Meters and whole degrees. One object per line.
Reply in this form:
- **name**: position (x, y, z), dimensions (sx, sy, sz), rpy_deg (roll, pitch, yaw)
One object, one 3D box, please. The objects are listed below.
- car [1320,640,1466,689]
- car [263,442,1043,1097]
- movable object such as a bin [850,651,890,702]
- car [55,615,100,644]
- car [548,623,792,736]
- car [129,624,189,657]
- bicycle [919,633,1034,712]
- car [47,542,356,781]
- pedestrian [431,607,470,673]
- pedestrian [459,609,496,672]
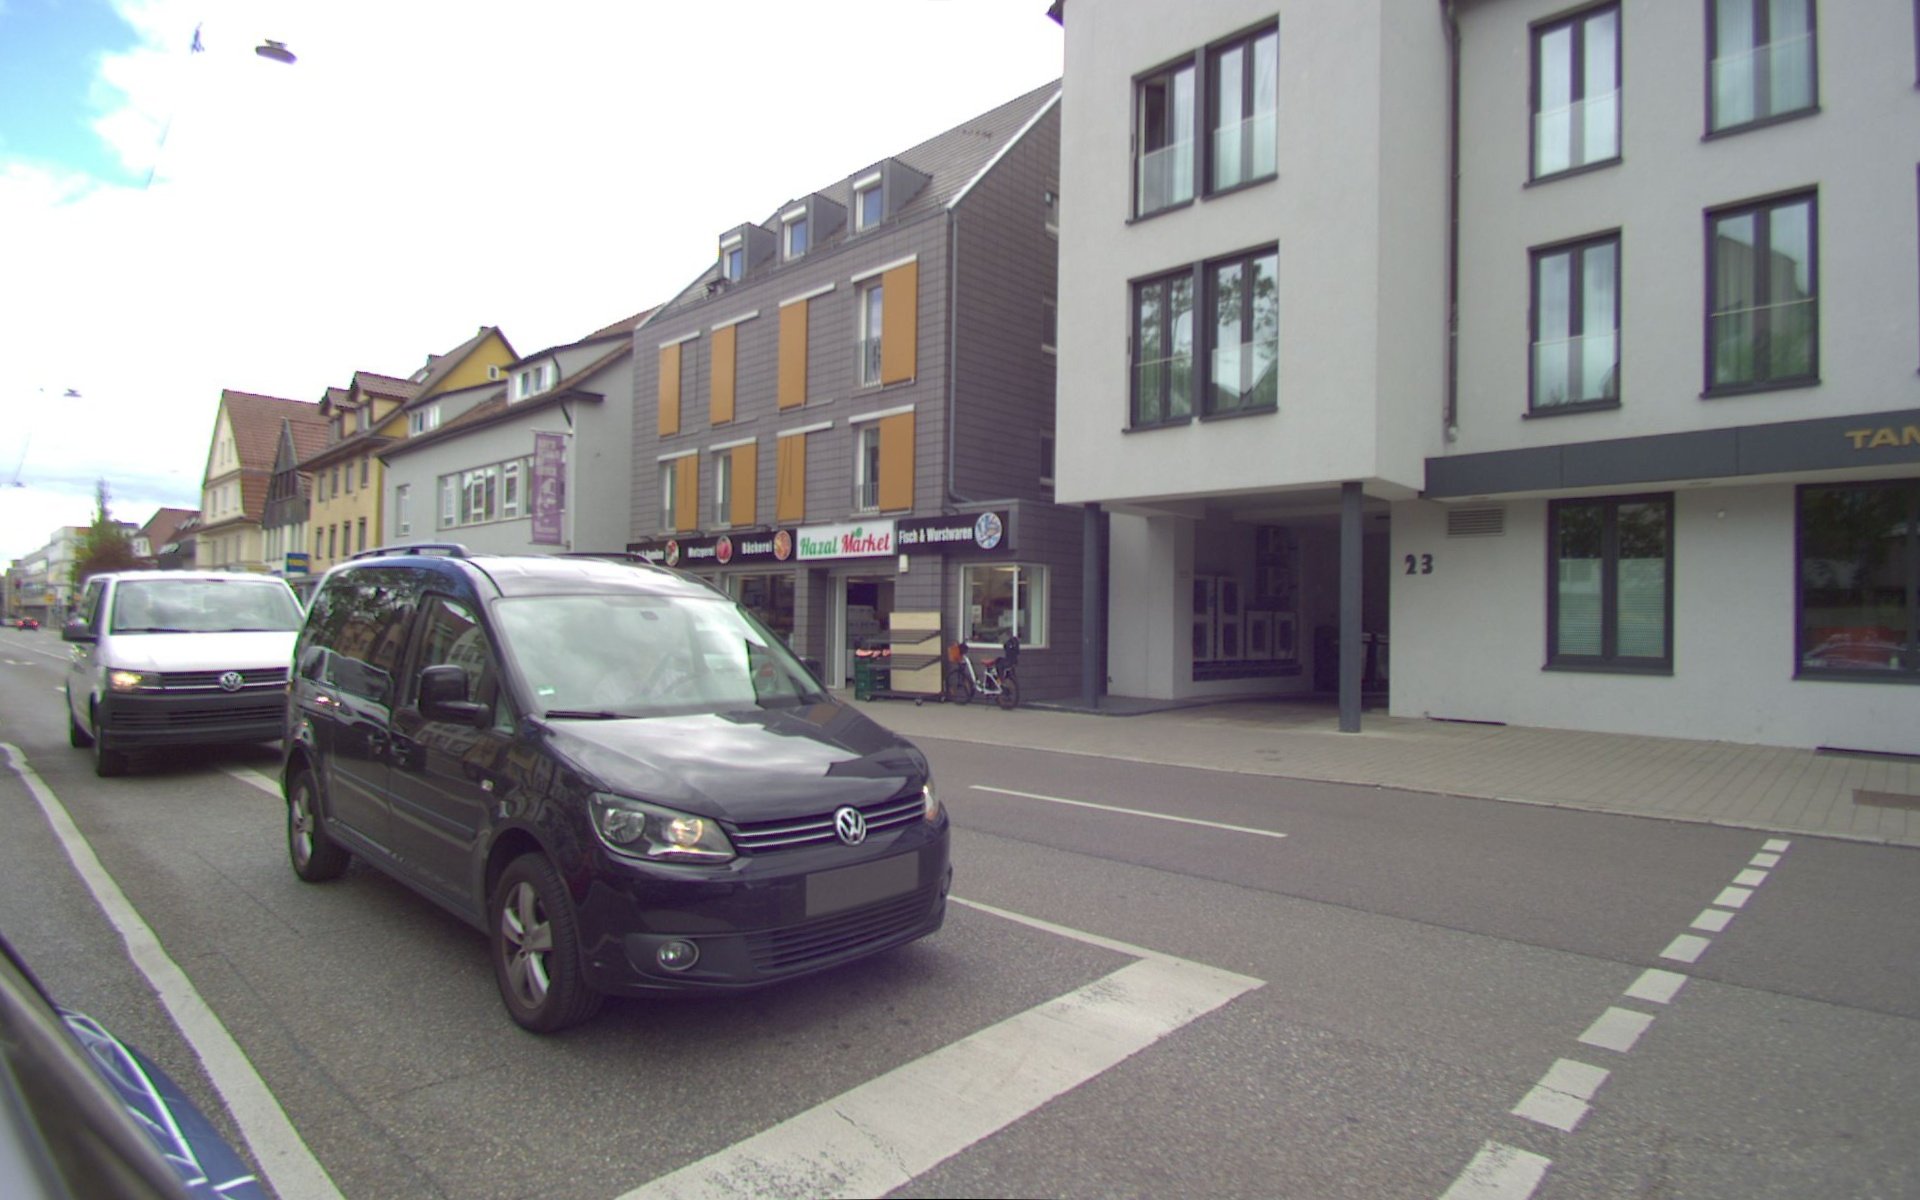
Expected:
- **car**: position (11.594, 1.711, 27.219), dimensions (1.377, 1.189, 3.356), rpy_deg (4, -4, -41)
- **car**: position (-1.905, 0.495, 5.042), dimensions (4.573, 1.834, 1.689), rpy_deg (-1, 0, 44)
- **movable object such as a bin**: position (-1.677, 1.421, 18.881), dimensions (0.507, 0.906, 0.545), rpy_deg (-1, -1, 43)
- **car**: position (-62.325, 2.098, 71.446), dimensions (4.771, 1.984, 1.901), rpy_deg (-1, -3, 44)
- **car**: position (-4.514, 1.104, 15.462), dimensions (4.001, 1.497, 1.848), rpy_deg (-2, -2, 44)
- **car**: position (-37.986, 1.898, 47.988), dimensions (4.037, 1.459, 1.739), rpy_deg (-1, -2, 45)
- **bicycle**: position (0.251, 1.188, 17.129), dimensions (2.119, 1.241, 0.575), rpy_deg (-1, -2, 43)
- **car**: position (-8.386, 0.549, 10.989), dimensions (4.842, 2.029, 1.971), rpy_deg (-1, 0, 45)
- **pedestrian**: position (-14.590, 1.144, 28.975), dimensions (0.698, 1.853, 1.028), rpy_deg (2, -2, -44)
- **pedestrian**: position (-14.088, 1.180, 29.539), dimensions (0.698, 1.795, 0.870), rpy_deg (2, -2, -44)
